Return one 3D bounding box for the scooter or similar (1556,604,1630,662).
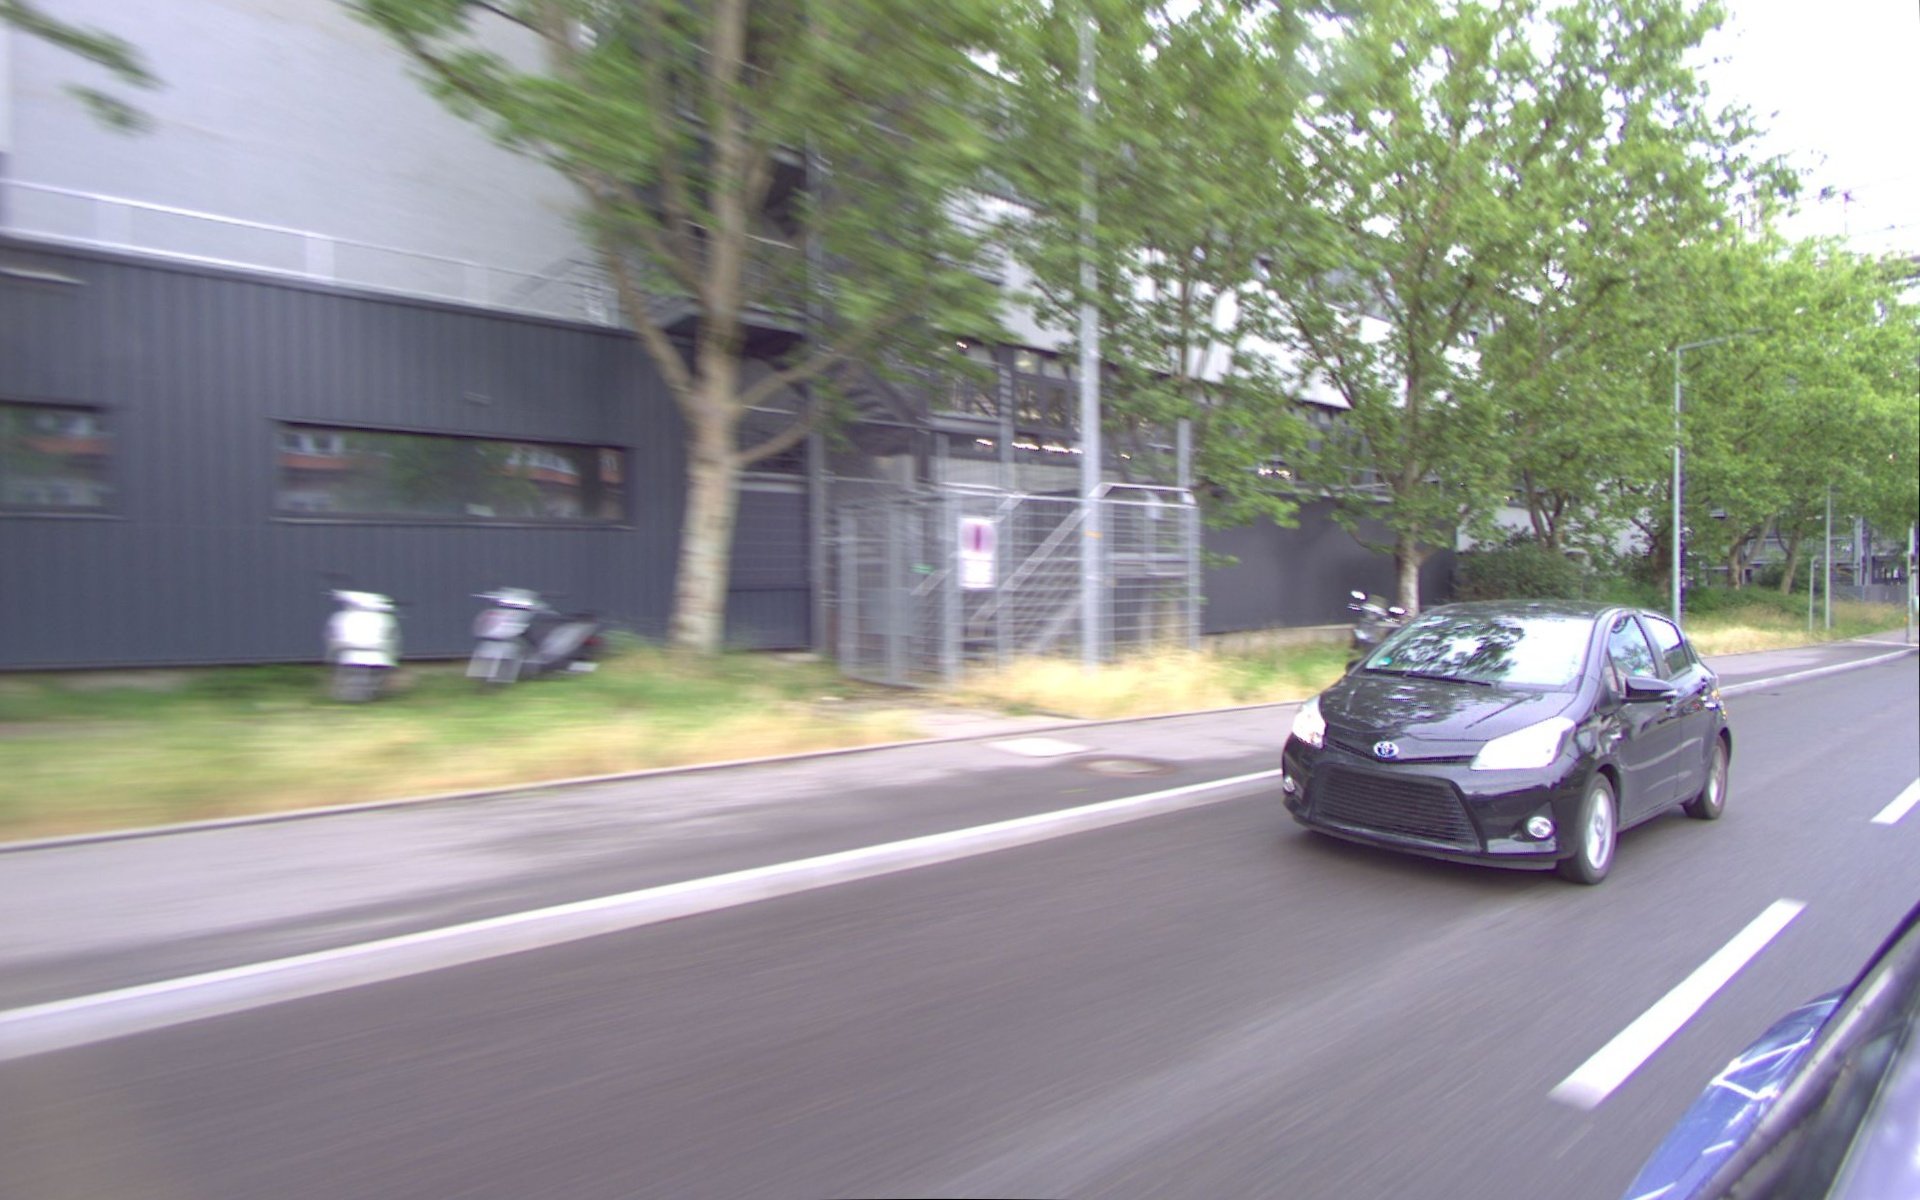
[{"bbox_3d":[12.844,0.648,20.548,0.307,1.104,1.214,0,2,-44],"label":"scooter or similar"}]

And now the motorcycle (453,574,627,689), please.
[{"bbox_3d":[-4.578,0.312,11.171,0.473,1.160,1.878,-1,0,29],"label":"motorcycle"}]

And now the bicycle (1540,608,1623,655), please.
[{"bbox_3d":[14.102,0.701,23.007,0.386,0.970,1.555,0,2,-40],"label":"bicycle"}]

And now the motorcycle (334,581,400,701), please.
[{"bbox_3d":[-6.202,0.397,10.625,0.548,1.160,1.645,-1,0,-29],"label":"motorcycle"}]

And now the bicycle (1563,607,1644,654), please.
[{"bbox_3d":[15.128,0.697,23.827,0.386,1.017,1.555,0,2,-40],"label":"bicycle"}]

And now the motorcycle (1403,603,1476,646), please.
[{"bbox_3d":[12.381,0.613,26.166,0.567,1.014,1.611,0,2,-40],"label":"motorcycle"}]

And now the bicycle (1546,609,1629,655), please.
[{"bbox_3d":[14.408,0.716,23.278,0.386,0.970,1.555,0,2,-40],"label":"bicycle"}]

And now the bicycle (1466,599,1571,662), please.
[{"bbox_3d":[11.322,0.592,20.548,1.789,1.181,0.441,3,2,44],"label":"bicycle"}]

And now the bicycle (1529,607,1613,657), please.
[{"bbox_3d":[13.621,0.691,22.594,0.386,1.017,1.555,0,2,-40],"label":"bicycle"}]

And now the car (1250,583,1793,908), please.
[{"bbox_3d":[4.001,0.641,6.813,4.560,1.488,1.748,-1,1,-41],"label":"car"}]

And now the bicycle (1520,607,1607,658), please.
[{"bbox_3d":[13.069,0.690,21.949,0.386,1.017,1.555,0,2,-40],"label":"bicycle"}]

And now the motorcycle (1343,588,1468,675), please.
[{"bbox_3d":[7.293,0.478,16.670,0.432,1.289,2.018,1,2,-28],"label":"motorcycle"}]

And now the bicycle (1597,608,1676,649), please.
[{"bbox_3d":[17.163,0.715,25.689,0.380,0.951,1.611,0,2,-40],"label":"bicycle"}]

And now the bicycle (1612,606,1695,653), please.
[{"bbox_3d":[16.352,0.685,23.895,0.386,1.017,1.555,0,2,-40],"label":"bicycle"}]

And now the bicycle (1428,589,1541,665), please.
[{"bbox_3d":[10.027,0.489,19.390,1.854,1.365,0.442,2,1,38],"label":"bicycle"}]

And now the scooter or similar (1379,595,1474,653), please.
[{"bbox_3d":[8.185,0.410,17.799,1.467,0.948,0.362,2,1,33],"label":"scooter or similar"}]
